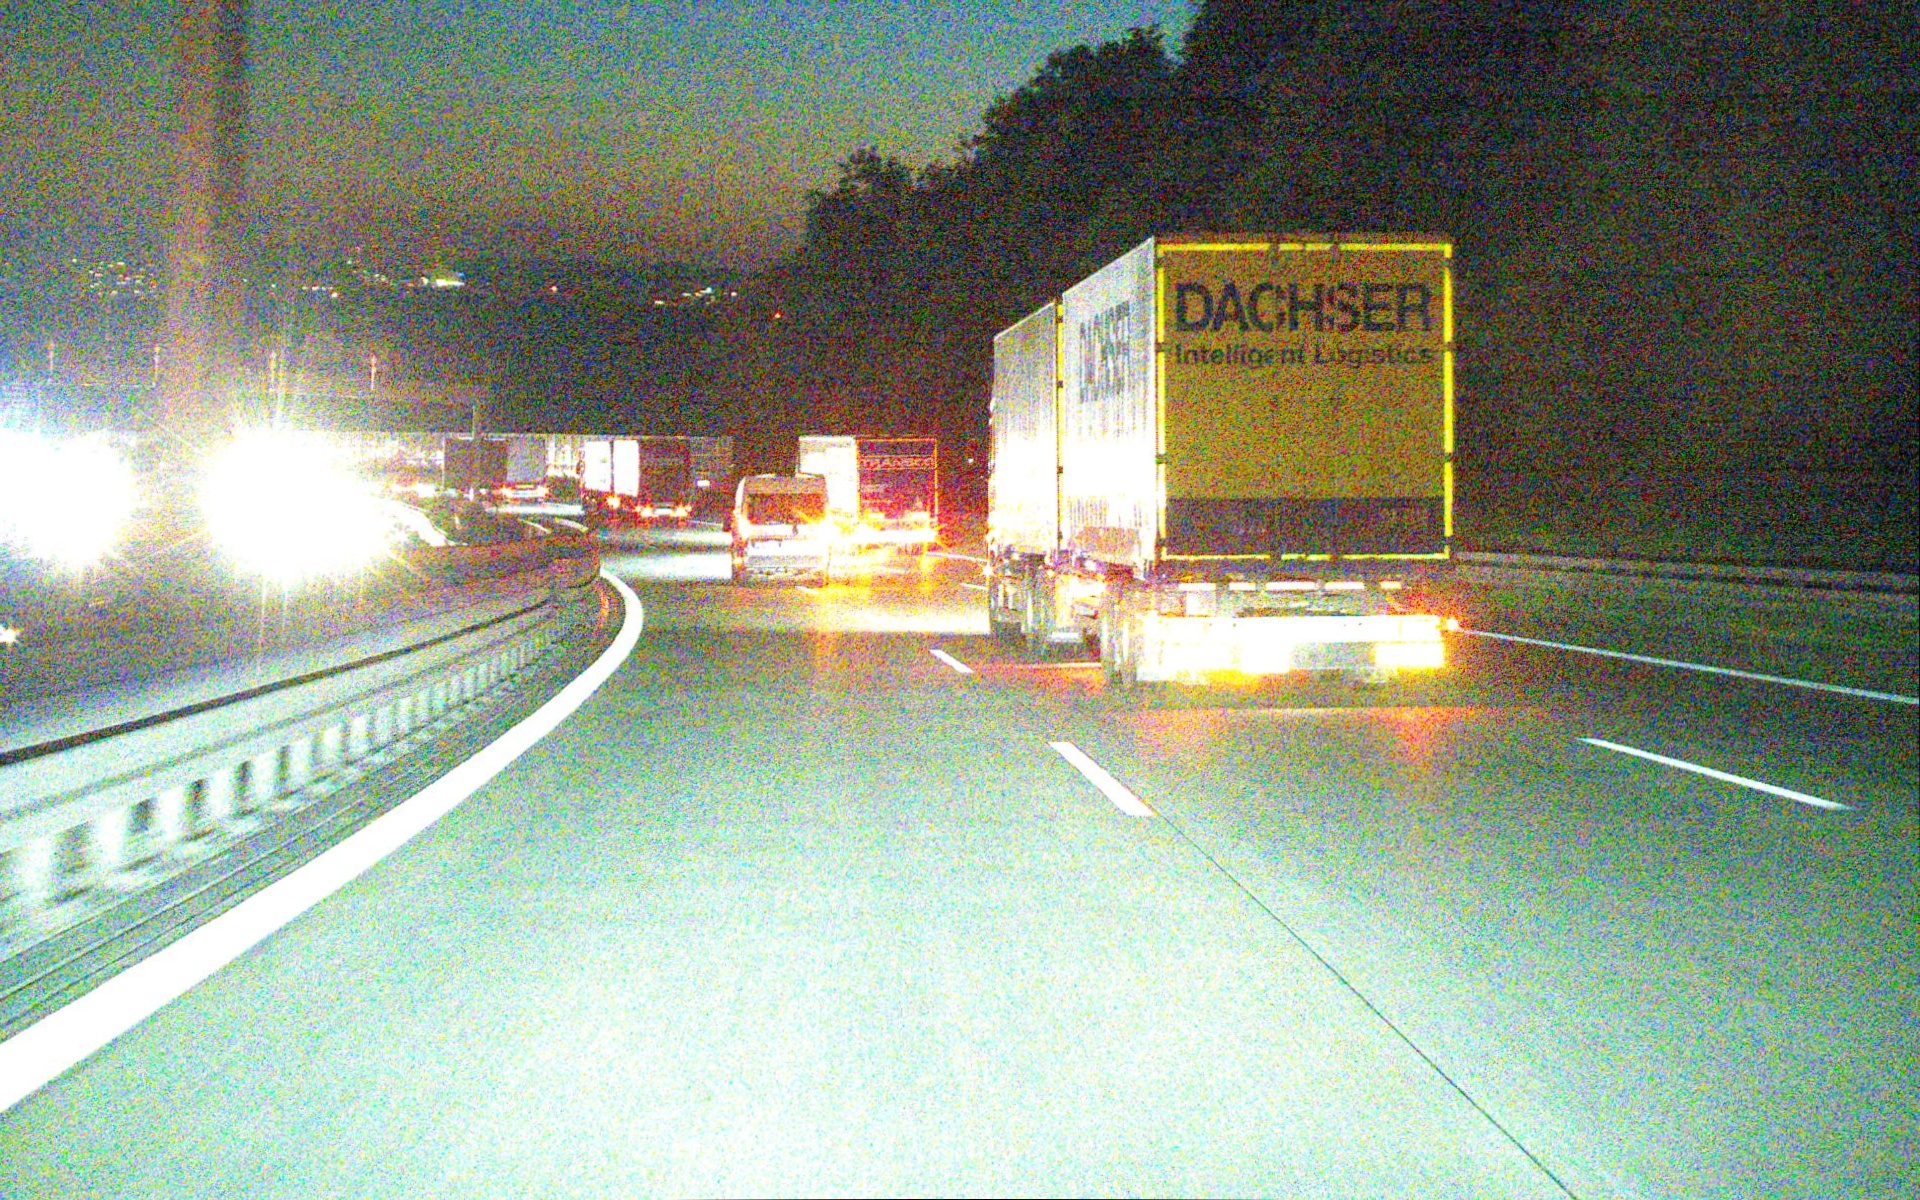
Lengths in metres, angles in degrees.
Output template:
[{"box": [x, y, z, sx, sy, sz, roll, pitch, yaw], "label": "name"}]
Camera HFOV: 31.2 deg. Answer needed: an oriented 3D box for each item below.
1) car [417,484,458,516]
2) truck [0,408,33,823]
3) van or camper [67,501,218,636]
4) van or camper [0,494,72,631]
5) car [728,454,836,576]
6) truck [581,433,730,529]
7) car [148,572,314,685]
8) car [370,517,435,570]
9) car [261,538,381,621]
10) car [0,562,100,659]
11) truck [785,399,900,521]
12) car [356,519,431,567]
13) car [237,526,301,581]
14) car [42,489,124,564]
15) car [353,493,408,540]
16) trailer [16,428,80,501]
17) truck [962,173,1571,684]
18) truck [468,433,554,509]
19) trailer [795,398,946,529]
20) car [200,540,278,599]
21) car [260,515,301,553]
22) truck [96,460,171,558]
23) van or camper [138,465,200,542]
[{"box": [-21.085, -4.043, 138.806, 1.418, 1.252, 3.130, -1, 3, -12], "label": "car"}, {"box": [-9.443, 0.174, 26.465, 2.654, 3.579, 8.551, 1, 1, -3], "label": "truck"}, {"box": [-16.831, -0.720, 71.062, 2.254, 2.586, 6.688, -2, 2, -7], "label": "van or camper"}, {"box": [-20.347, -0.818, 72.372, 2.444, 2.751, 6.491, -1, 1, -8], "label": "van or camper"}, {"box": [-4.014, -1.914, 78.245, 2.337, 2.631, 5.248, 1, 1, -2], "label": "car"}, {"box": [-15.923, -6.235, 177.660, 3.914, 4.611, 21.027, -2, 3, -15], "label": "truck"}, {"box": [-10.329, 0.367, 48.979, 1.819, 1.446, 4.506, -1, 1, -6], "label": "car"}, {"box": [-15.823, -1.612, 97.442, 1.754, 1.350, 4.636, -1, 3, -10], "label": "car"}, {"box": [-11.967, -0.411, 64.615, 1.833, 1.446, 4.506, -1, 1, -6], "label": "car"}, {"box": [-15.177, 0.148, 55.576, 1.833, 1.446, 4.506, -1, 1, -6], "label": "car"}, {"box": [-4.105, -4.864, 118.230, 2.861, 4.062, 7.514, -1, 3, -10], "label": "truck"}, {"box": [-17.078, -1.742, 103.548, 1.753, 1.350, 4.293, -2, 2, -16], "label": "car"}, {"box": [-22.832, -1.558, 113.703, 1.993, 1.654, 4.455, -1, 2, -11], "label": "car"}, {"box": [-24.210, -2.034, 94.776, 1.993, 1.953, 4.989, -2, 2, -16], "label": "car"}, {"box": [-21.995, -3.153, 130.423, 1.680, 1.560, 4.001, -4, 0, -13], "label": "car"}, {"box": [-55.387, -8.264, 208.629, 2.839, 4.157, 13.290, -3, 4, -18], "label": "trailer"}, {"box": [2.523, -1.559, 37.482, 3.482, 4.120, 18.713, 1, 1, -4], "label": "truck"}, {"box": [-28.331, -8.181, 216.439, 3.343, 4.460, 13.915, 2, 2, -15], "label": "truck"}, {"box": [-3.078, -4.572, 112.785, 2.853, 4.053, 13.211, -1, 3, -11], "label": "trailer"}, {"box": [-19.726, -0.851, 94.151, 1.606, 1.474, 4.075, -2, 2, -5], "label": "car"}, {"box": [-29.054, -2.816, 147.066, 1.640, 1.534, 4.001, -1, 2, -10], "label": "car"}, {"box": [-28.925, -3.183, 120.397, 2.375, 3.248, 7.726, -2, 2, -13], "label": "truck"}, {"box": [-32.040, -3.960, 139.440, 2.221, 2.993, 7.127, -1, 3, -12], "label": "van or camper"}]
